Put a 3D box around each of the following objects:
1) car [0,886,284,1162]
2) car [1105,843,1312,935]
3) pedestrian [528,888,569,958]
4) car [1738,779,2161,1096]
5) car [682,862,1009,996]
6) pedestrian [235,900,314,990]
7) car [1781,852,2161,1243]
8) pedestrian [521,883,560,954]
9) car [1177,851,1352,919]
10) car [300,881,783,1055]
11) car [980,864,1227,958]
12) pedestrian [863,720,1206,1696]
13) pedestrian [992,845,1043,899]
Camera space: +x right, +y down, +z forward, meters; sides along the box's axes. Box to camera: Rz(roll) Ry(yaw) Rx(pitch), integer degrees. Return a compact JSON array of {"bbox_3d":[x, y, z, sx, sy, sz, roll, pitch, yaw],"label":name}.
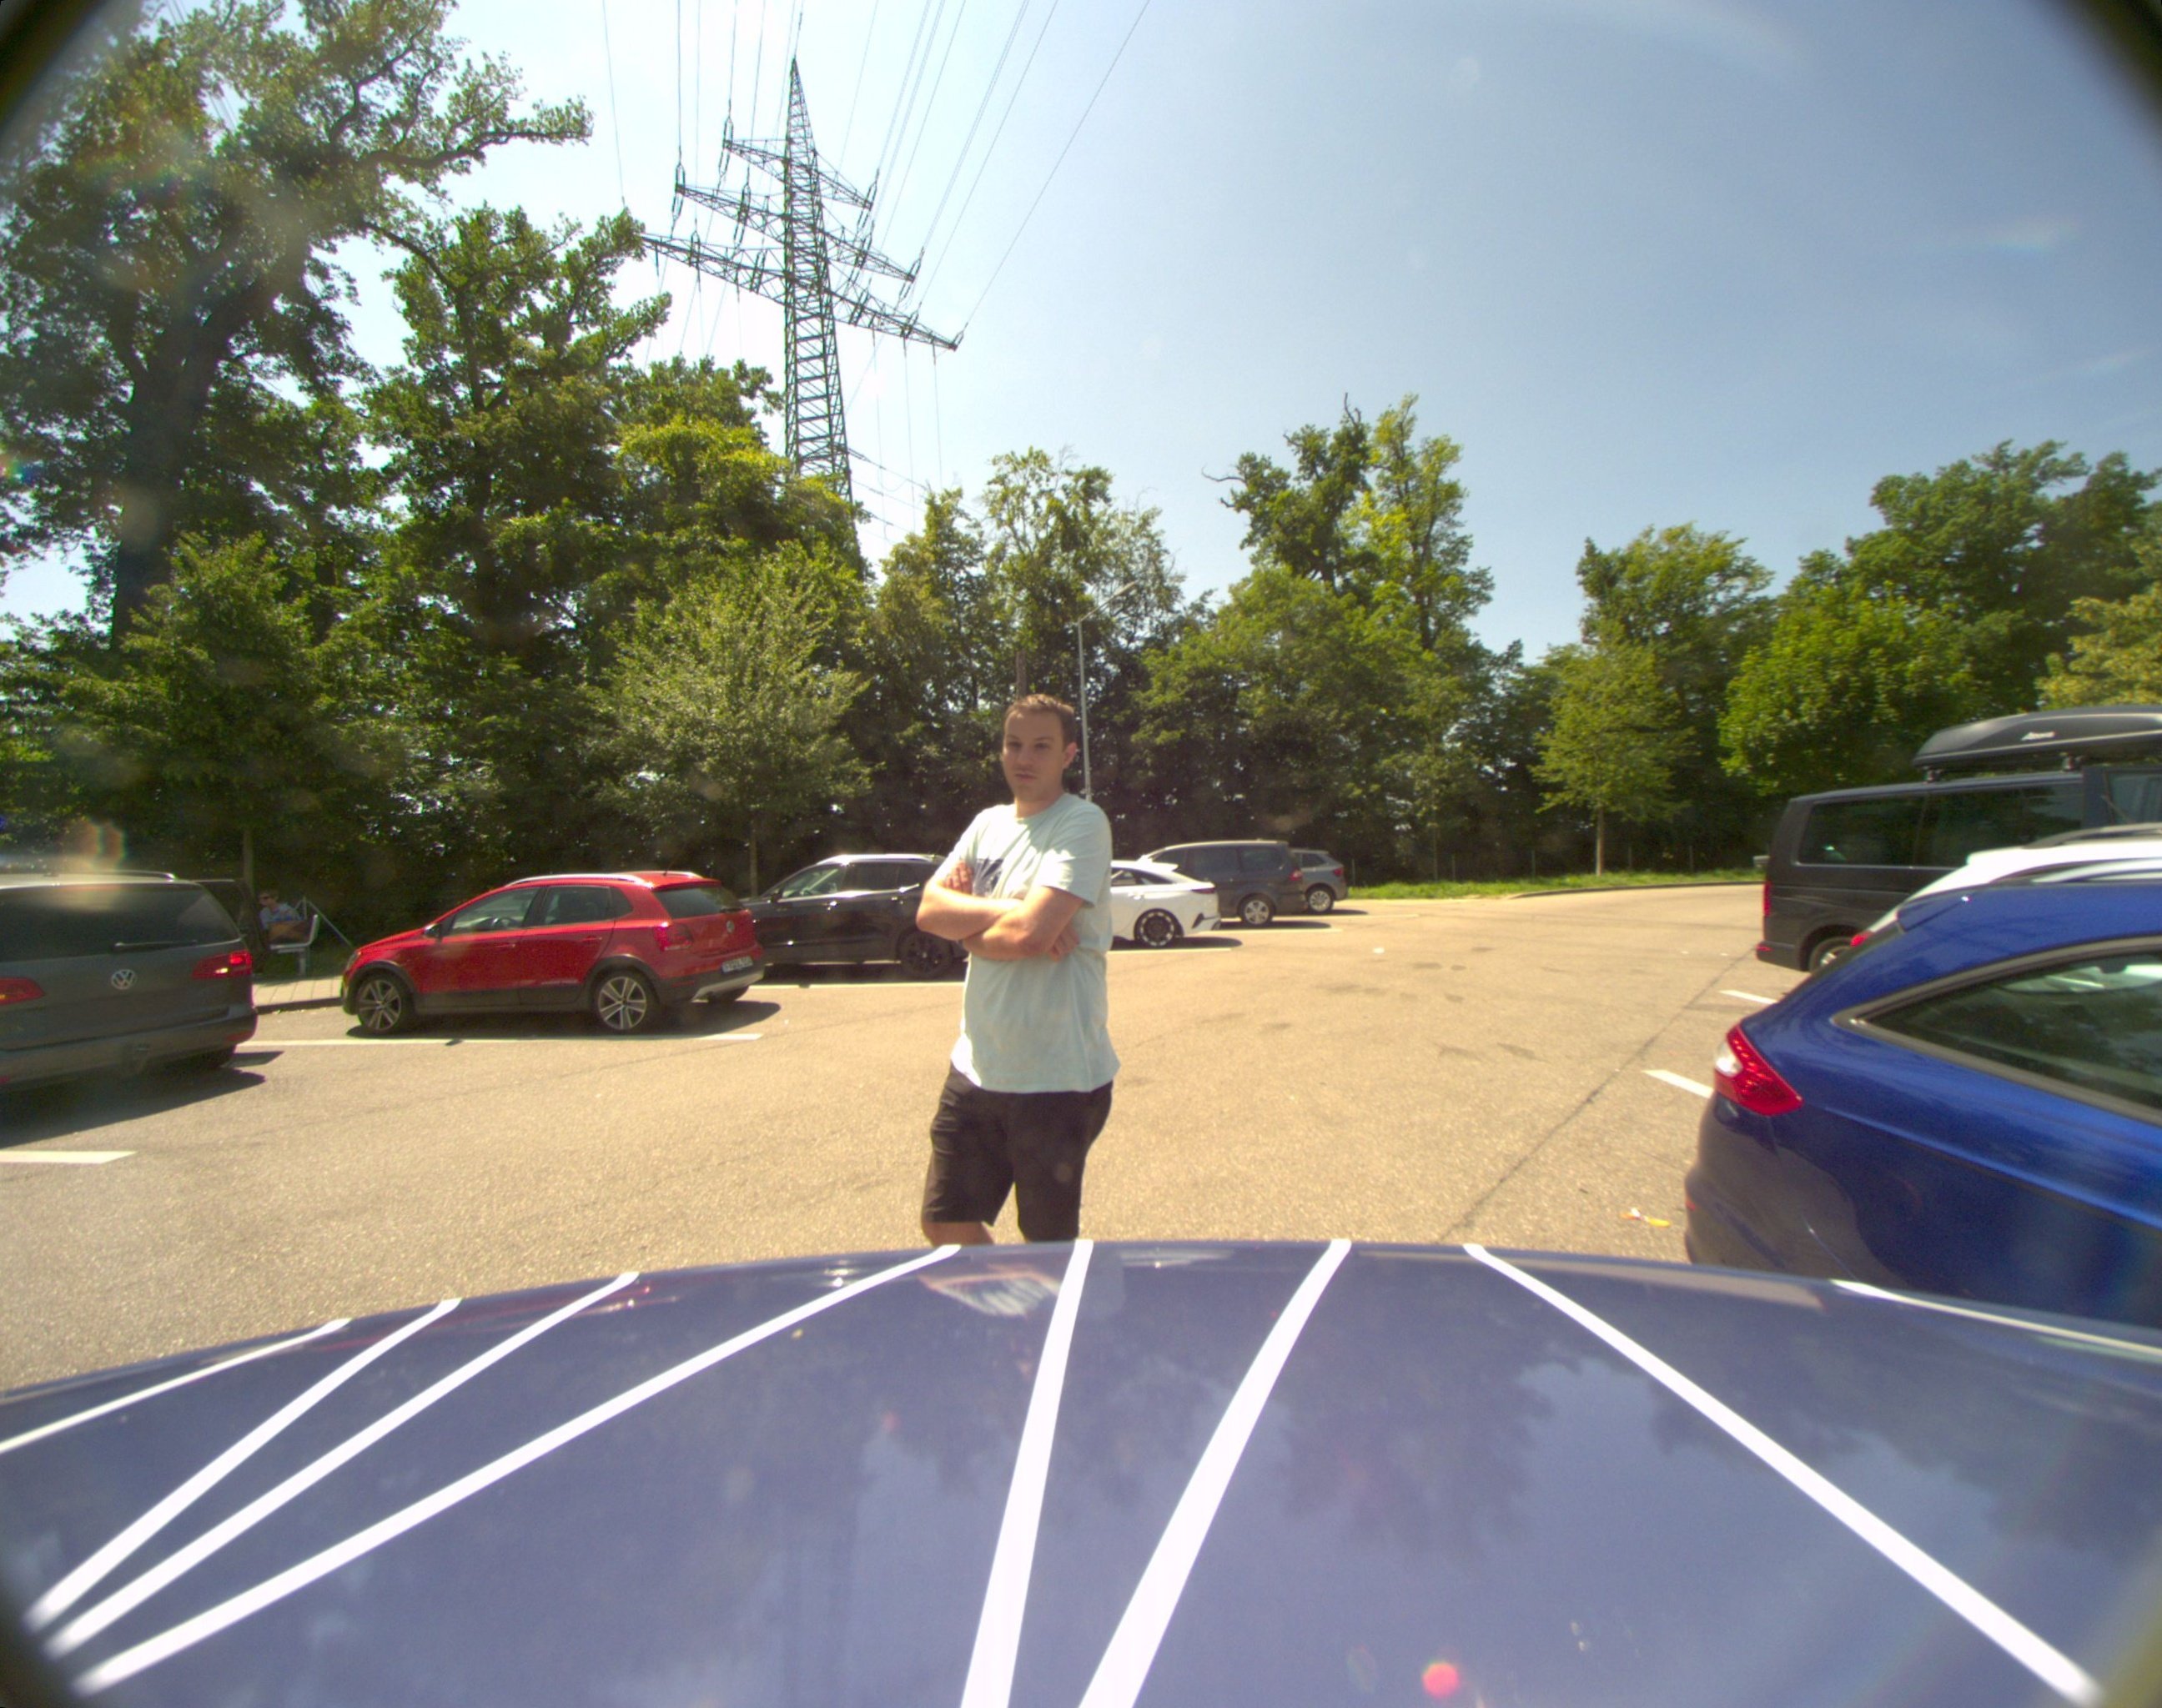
[{"bbox_3d":[-8.342,1.100,5.434,3.950,1.581,1.753,-1,1,11],"label":"car"},{"bbox_3d":[2.510,0.685,15.477,3.882,1.680,1.882,-1,0,5],"label":"car"},{"bbox_3d":[-10.168,1.305,14.520,0.490,1.291,0.506,-2,0,41],"label":"pedestrian"},{"bbox_3d":[7.307,0.459,5.010,2.048,1.850,4.430,-2,-1,-1],"label":"car"},{"bbox_3d":[-3.007,0.943,10.277,3.806,1.538,1.759,-1,1,2],"label":"car"},{"bbox_3d":[-11.768,1.307,11.088,0.680,1.211,0.675,-4,-2,36],"label":"pedestrian"},{"bbox_3d":[4.779,0.704,2.413,1.607,1.405,3.743,-2,-1,-1],"label":"car"},{"bbox_3d":[-10.925,1.287,15.358,0.490,1.367,0.506,-2,0,41],"label":"pedestrian"},{"bbox_3d":[4.258,0.712,18.120,3.805,1.468,1.743,-1,1,5],"label":"car"},{"bbox_3d":[-5.241,1.069,7.650,3.804,1.449,1.637,-1,1,7],"label":"car"},{"bbox_3d":[0.408,0.912,12.726,3.805,1.359,1.803,-1,1,5],"label":"car"},{"bbox_3d":[-0.176,0.670,1.894,0.634,1.857,0.747,-2,0,-17],"label":"pedestrian"},{"bbox_3d":[-1.564,0.441,18.800,0.890,1.292,0.865,-2,0,23],"label":"pedestrian"}]
